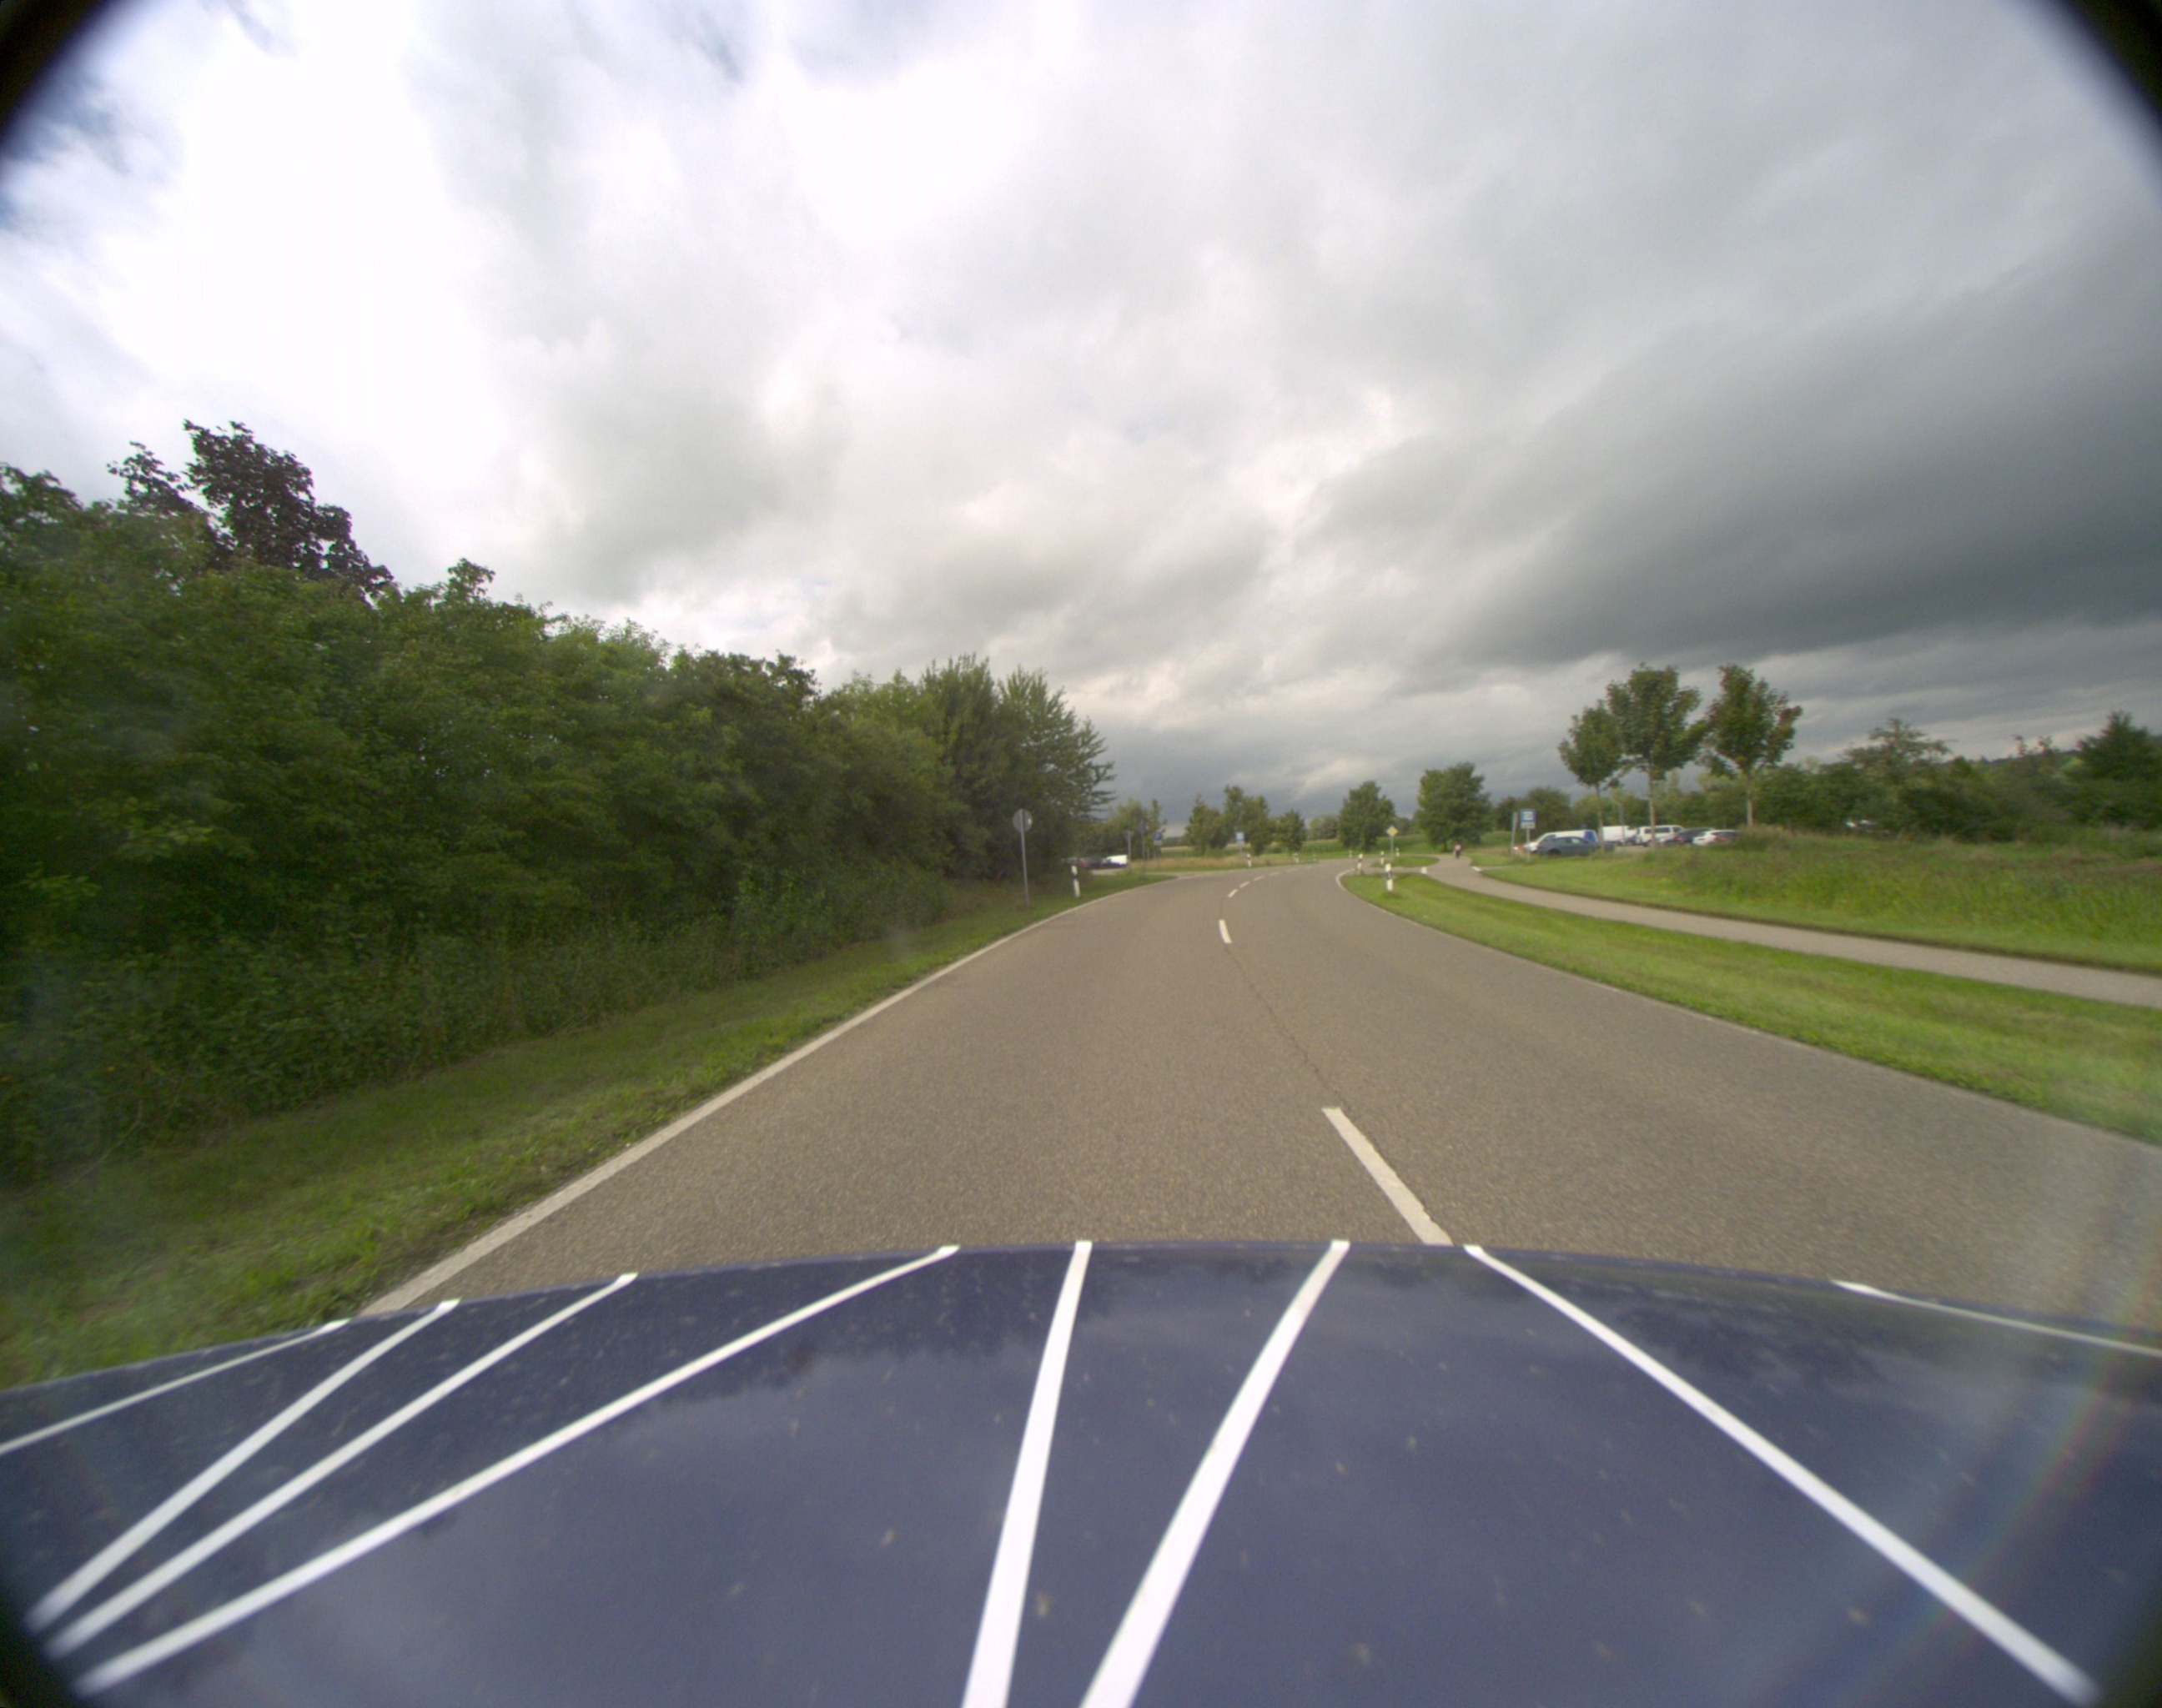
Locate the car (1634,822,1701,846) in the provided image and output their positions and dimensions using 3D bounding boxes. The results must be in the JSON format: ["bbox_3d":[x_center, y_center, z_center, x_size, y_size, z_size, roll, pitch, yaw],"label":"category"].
[{"bbox_3d":[56.504,-1.891,73.306,4.686,1.914,2.064,-4,-1,25],"label":"car"}]

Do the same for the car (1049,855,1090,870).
[{"bbox_3d":[-1.254,0.917,84.260,4.159,1.406,2.001,-2,0,10],"label":"car"}]

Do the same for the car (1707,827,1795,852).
[{"bbox_3d":[45.123,-0.973,51.254,3.992,1.379,1.844,-4,0,20],"label":"car"}]

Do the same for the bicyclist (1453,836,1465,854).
[{"bbox_3d":[33.825,-0.825,67.936,0.831,1.556,1.057,-2,0,30],"label":"bicyclist"}]

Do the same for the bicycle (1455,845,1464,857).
[{"bbox_3d":[33.809,-0.260,67.916,0.636,1.026,2.194,-2,1,29],"label":"bicycle"}]

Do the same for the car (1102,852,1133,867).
[{"bbox_3d":[5.198,0.781,107.411,3.993,1.849,2.002,-2,0,14],"label":"car"}]

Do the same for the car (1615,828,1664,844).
[{"bbox_3d":[60.804,-1.924,82.808,3.991,1.516,1.797,-3,0,25],"label":"car"}]

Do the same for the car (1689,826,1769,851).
[{"bbox_3d":[47.358,-1.133,55.627,3.992,1.543,1.968,-4,0,20],"label":"car"}]

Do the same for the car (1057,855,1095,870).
[{"bbox_3d":[-0.560,0.947,87.717,4.002,1.496,2.054,-2,0,16],"label":"car"}]

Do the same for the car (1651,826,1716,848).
[{"bbox_3d":[51.412,-1.435,64.937,3.991,1.543,1.969,-4,-1,27],"label":"car"}]

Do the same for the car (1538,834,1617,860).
[{"bbox_3d":[33.674,-0.452,51.676,4.251,1.585,2.003,-3,0,27],"label":"car"}]

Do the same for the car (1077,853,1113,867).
[{"bbox_3d":[1.729,0.730,93.261,3.993,1.488,2.002,-2,0,12],"label":"car"}]

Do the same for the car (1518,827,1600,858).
[{"bbox_3d":[35.367,-0.837,56.383,4.898,2.002,2.060,-3,0,26],"label":"car"}]

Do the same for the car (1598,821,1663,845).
[{"bbox_3d":[69.683,-2.613,96.424,6.320,2.604,2.205,-3,0,27],"label":"car"}]

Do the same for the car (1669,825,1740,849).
[{"bbox_3d":[49.382,-1.323,60.276,3.991,1.543,1.969,-4,0,27],"label":"car"}]
